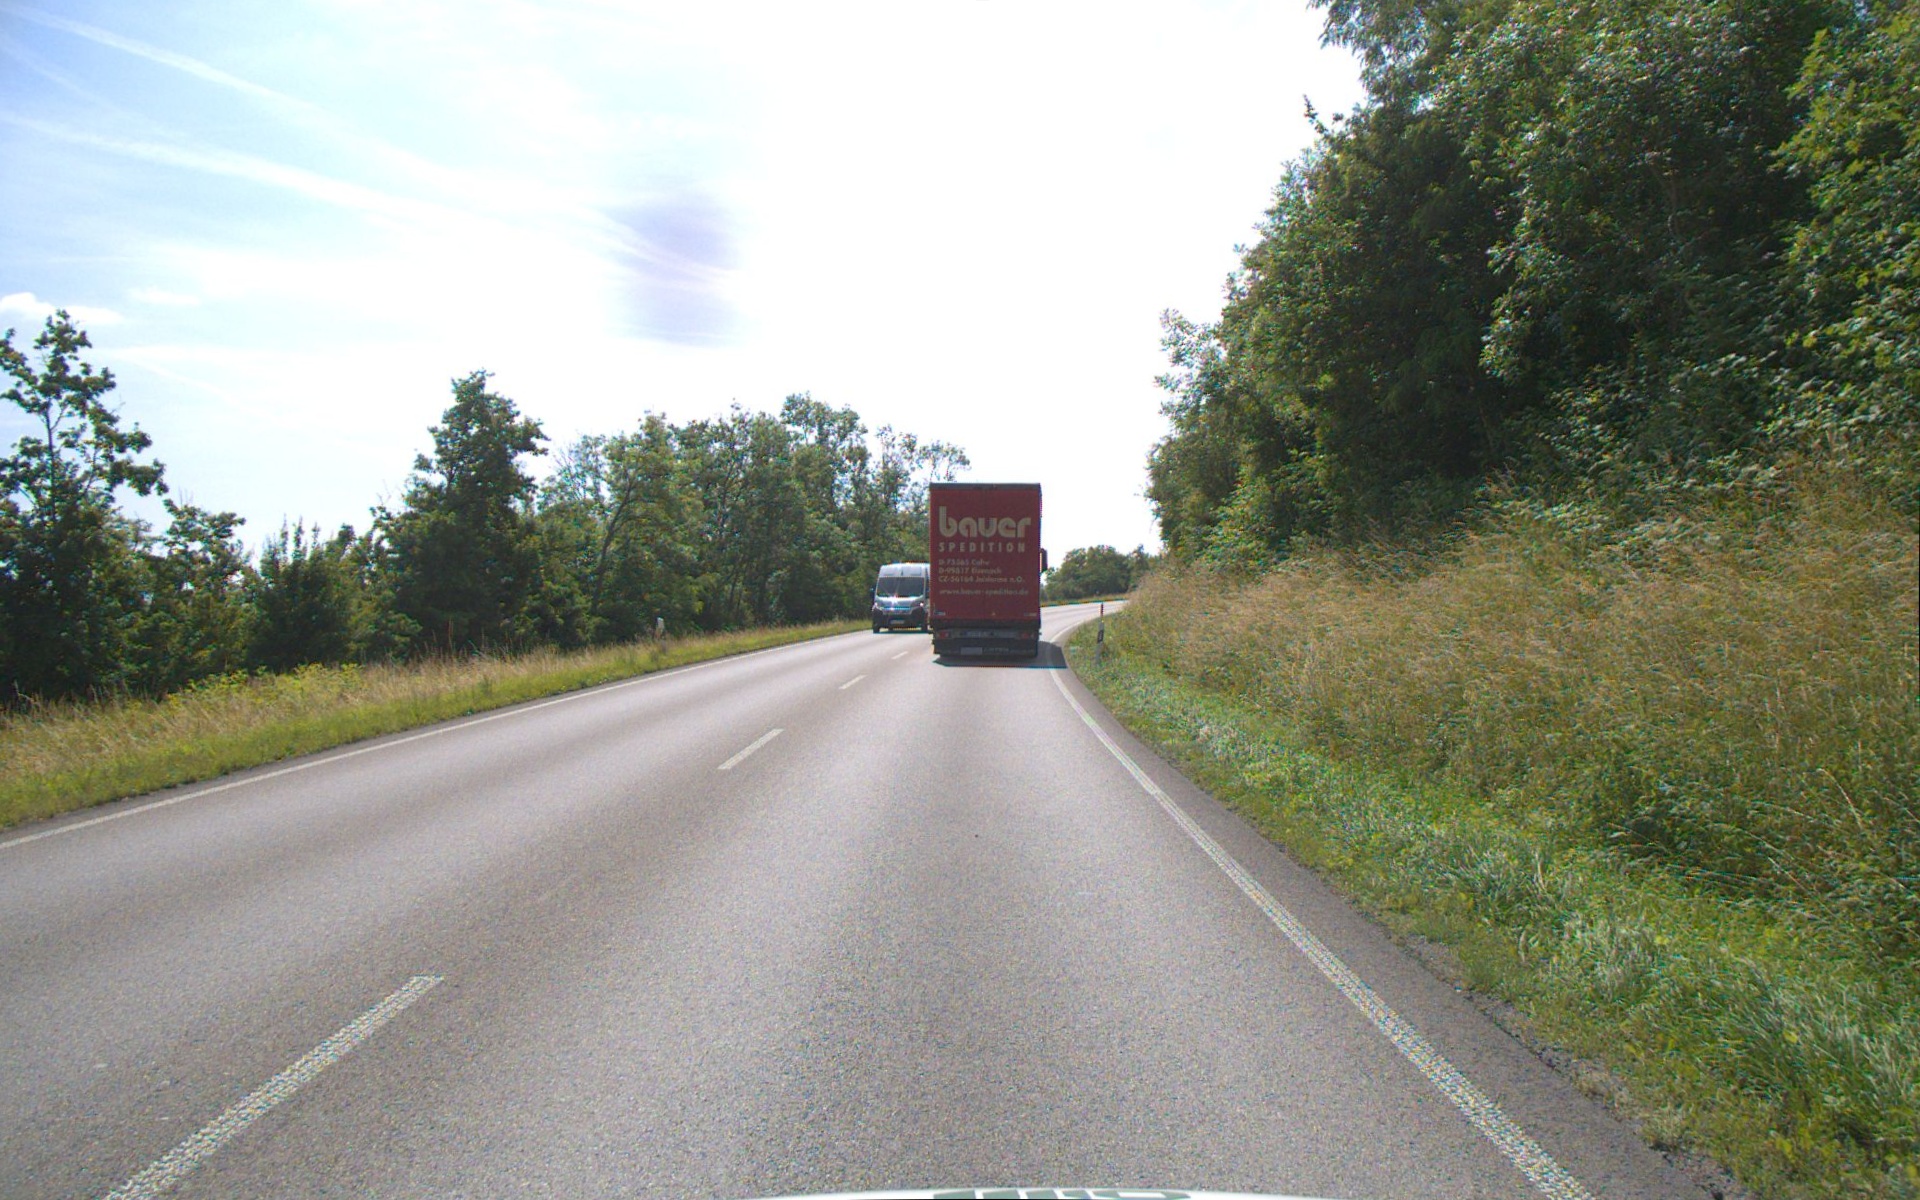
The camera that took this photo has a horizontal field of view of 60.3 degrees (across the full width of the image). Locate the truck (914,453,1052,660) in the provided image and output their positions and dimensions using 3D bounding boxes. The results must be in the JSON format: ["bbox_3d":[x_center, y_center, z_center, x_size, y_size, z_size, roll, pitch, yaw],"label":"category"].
[{"bbox_3d":[0.566,-0.986,42.703,3.048,4.584,12.168,0,0,1],"label":"truck"}]

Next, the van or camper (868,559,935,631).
[{"bbox_3d":[-2.165,-0.197,62.690,2.162,2.572,6.134,0,0,1],"label":"van or camper"}]
